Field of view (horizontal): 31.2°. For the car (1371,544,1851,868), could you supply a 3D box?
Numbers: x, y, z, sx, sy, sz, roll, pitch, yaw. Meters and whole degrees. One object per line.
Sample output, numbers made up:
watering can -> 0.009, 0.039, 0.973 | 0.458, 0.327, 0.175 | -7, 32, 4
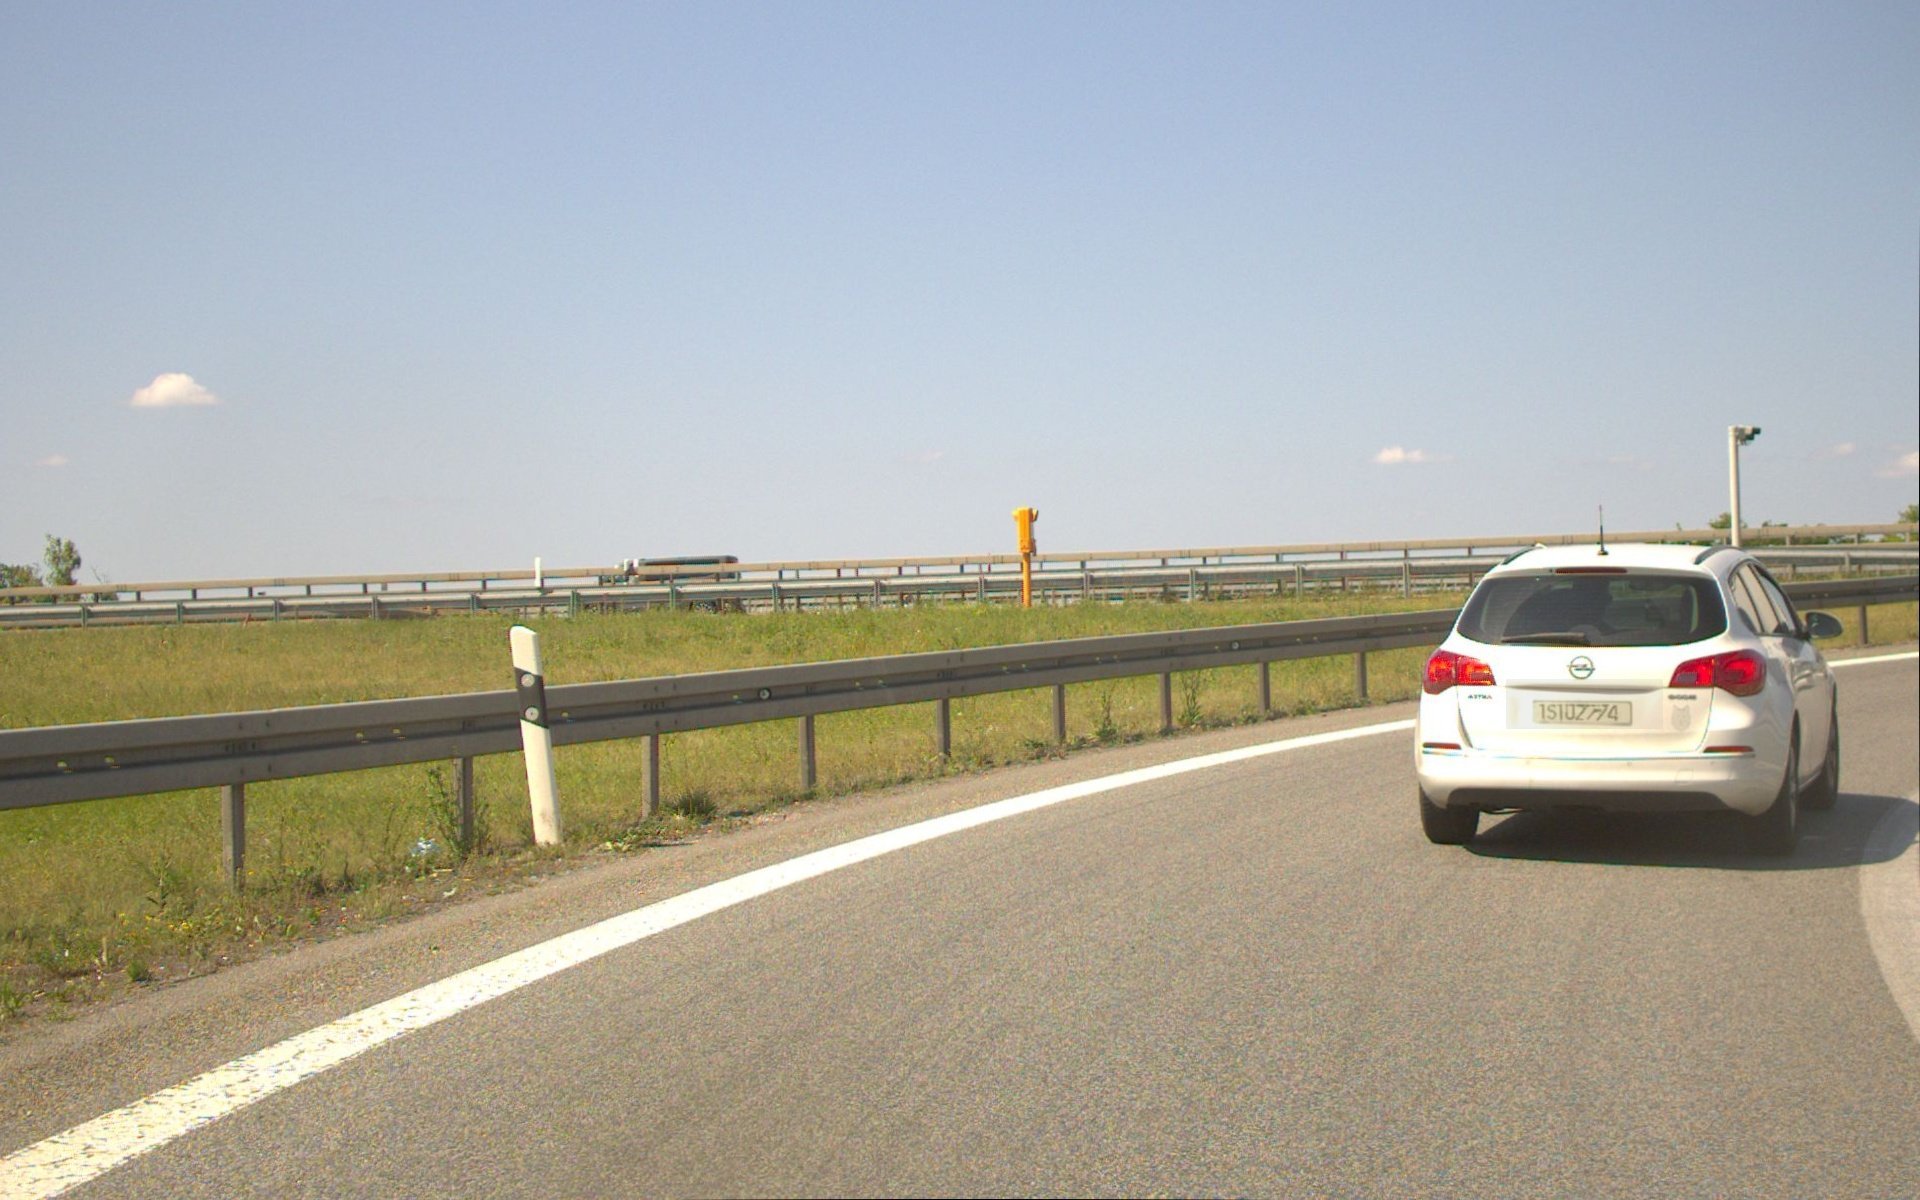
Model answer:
car -> 3.480, 0.456, 17.726 | 1.856, 1.438, 4.368 | -1, 1, 18
